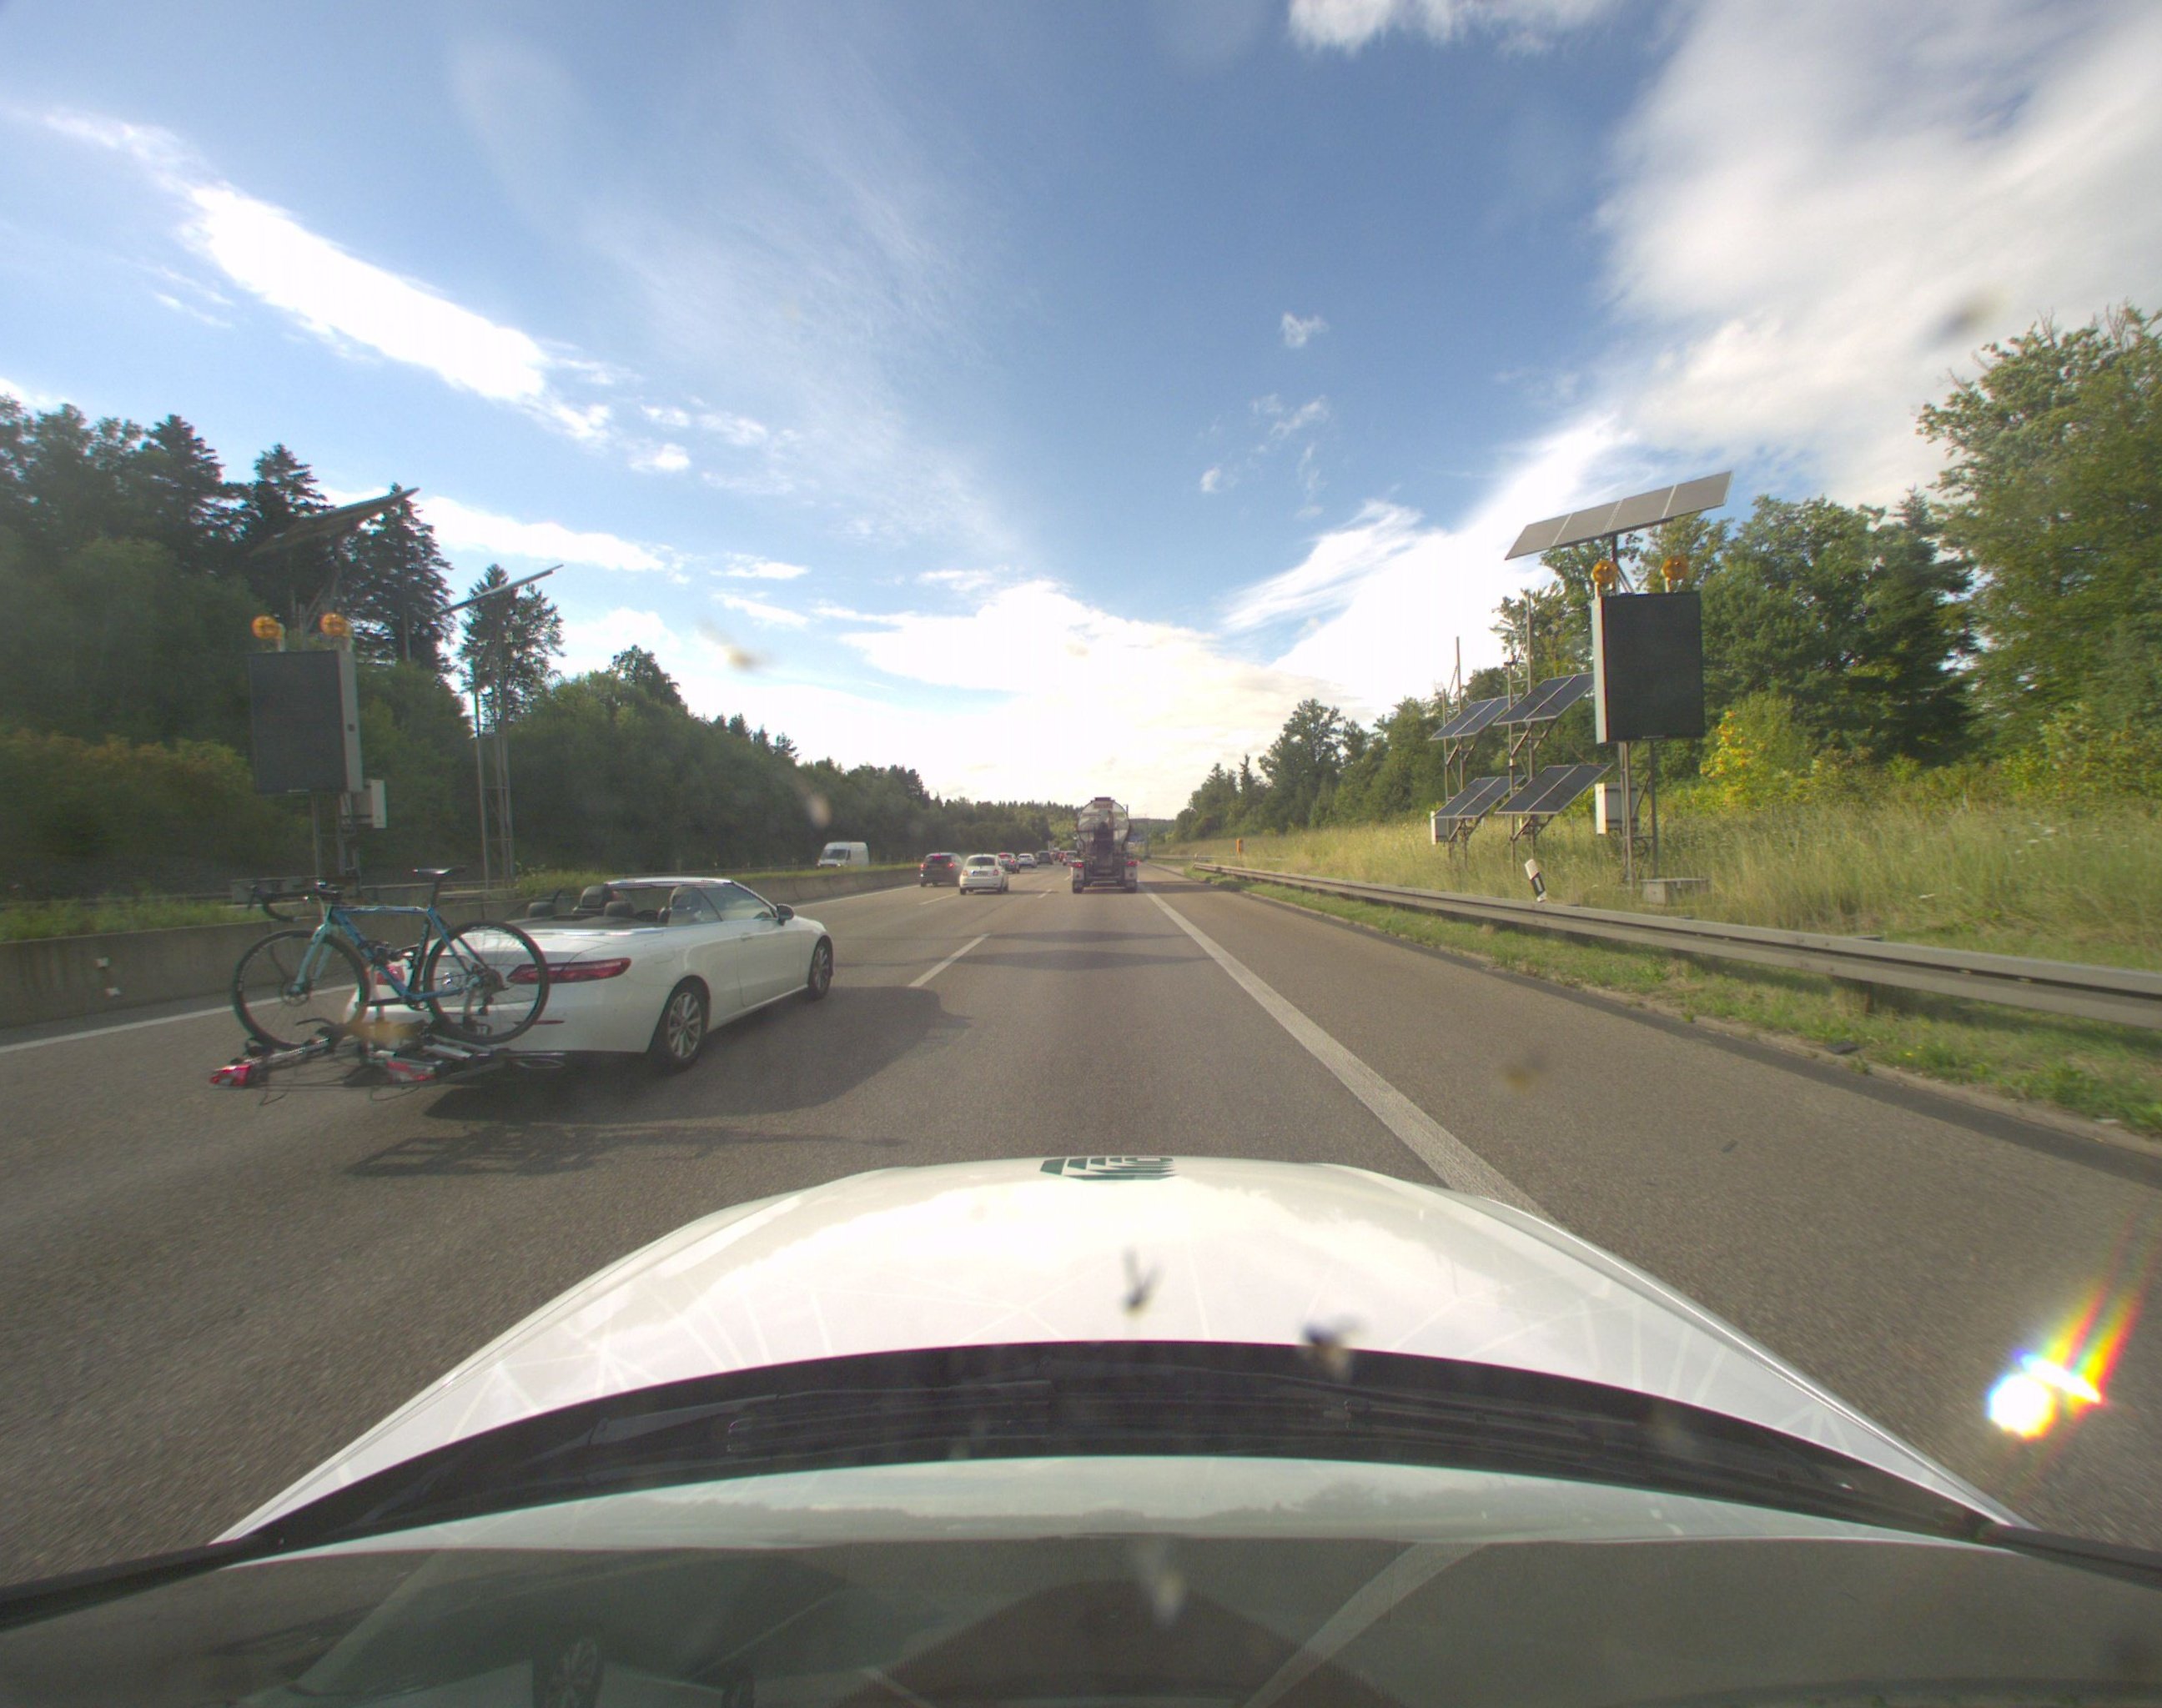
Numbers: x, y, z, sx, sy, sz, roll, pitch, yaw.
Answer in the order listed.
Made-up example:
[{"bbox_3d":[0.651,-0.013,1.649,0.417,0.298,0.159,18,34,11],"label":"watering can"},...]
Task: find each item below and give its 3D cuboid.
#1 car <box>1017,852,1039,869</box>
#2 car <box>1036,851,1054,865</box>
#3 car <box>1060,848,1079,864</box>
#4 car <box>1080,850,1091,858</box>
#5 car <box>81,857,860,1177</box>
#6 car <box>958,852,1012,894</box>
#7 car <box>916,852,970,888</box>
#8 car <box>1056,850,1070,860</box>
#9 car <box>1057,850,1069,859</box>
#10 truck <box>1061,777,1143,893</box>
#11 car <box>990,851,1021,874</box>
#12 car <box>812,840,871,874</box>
[{"bbox_3d":[-5.315,0.655,81.448,1.800,1.585,4.208,-1,1,1],"label":"car"},{"bbox_3d":[-4.412,0.445,100.688,1.935,1.585,4.208,-1,1,1],"label":"car"},{"bbox_3d":[-1.289,0.214,93.847,1.935,1.654,4.208,-1,1,1],"label":"car"},{"bbox_3d":[0.778,-0.033,151.945,1.935,1.456,4.208,-1,1,1],"label":"car"},{"bbox_3d":[-3.779,0.813,6.854,2.052,1.499,5.739,-1,0,2],"label":"car"},{"bbox_3d":[-3.695,0.714,31.896,1.612,1.544,3.521,-1,0,1],"label":"car"},{"bbox_3d":[-6.700,0.754,39.997,1.800,1.585,4.208,-1,1,1],"label":"car"},{"bbox_3d":[-2.743,0.121,124.707,1.935,1.456,4.208,-1,1,1],"label":"car"},{"bbox_3d":[-3.111,0.145,140.561,1.935,1.456,4.208,-1,1,1],"label":"car"},{"bbox_3d":[0.985,-0.701,35.207,2.901,4.157,11.275,-1,0,2],"label":"truck"},{"bbox_3d":[-5.673,0.633,61.364,1.800,1.585,4.208,-1,1,1],"label":"car"},{"bbox_3d":[-17.435,0.175,59.640,2.101,2.312,6.727,-1,0,2],"label":"car"}]
